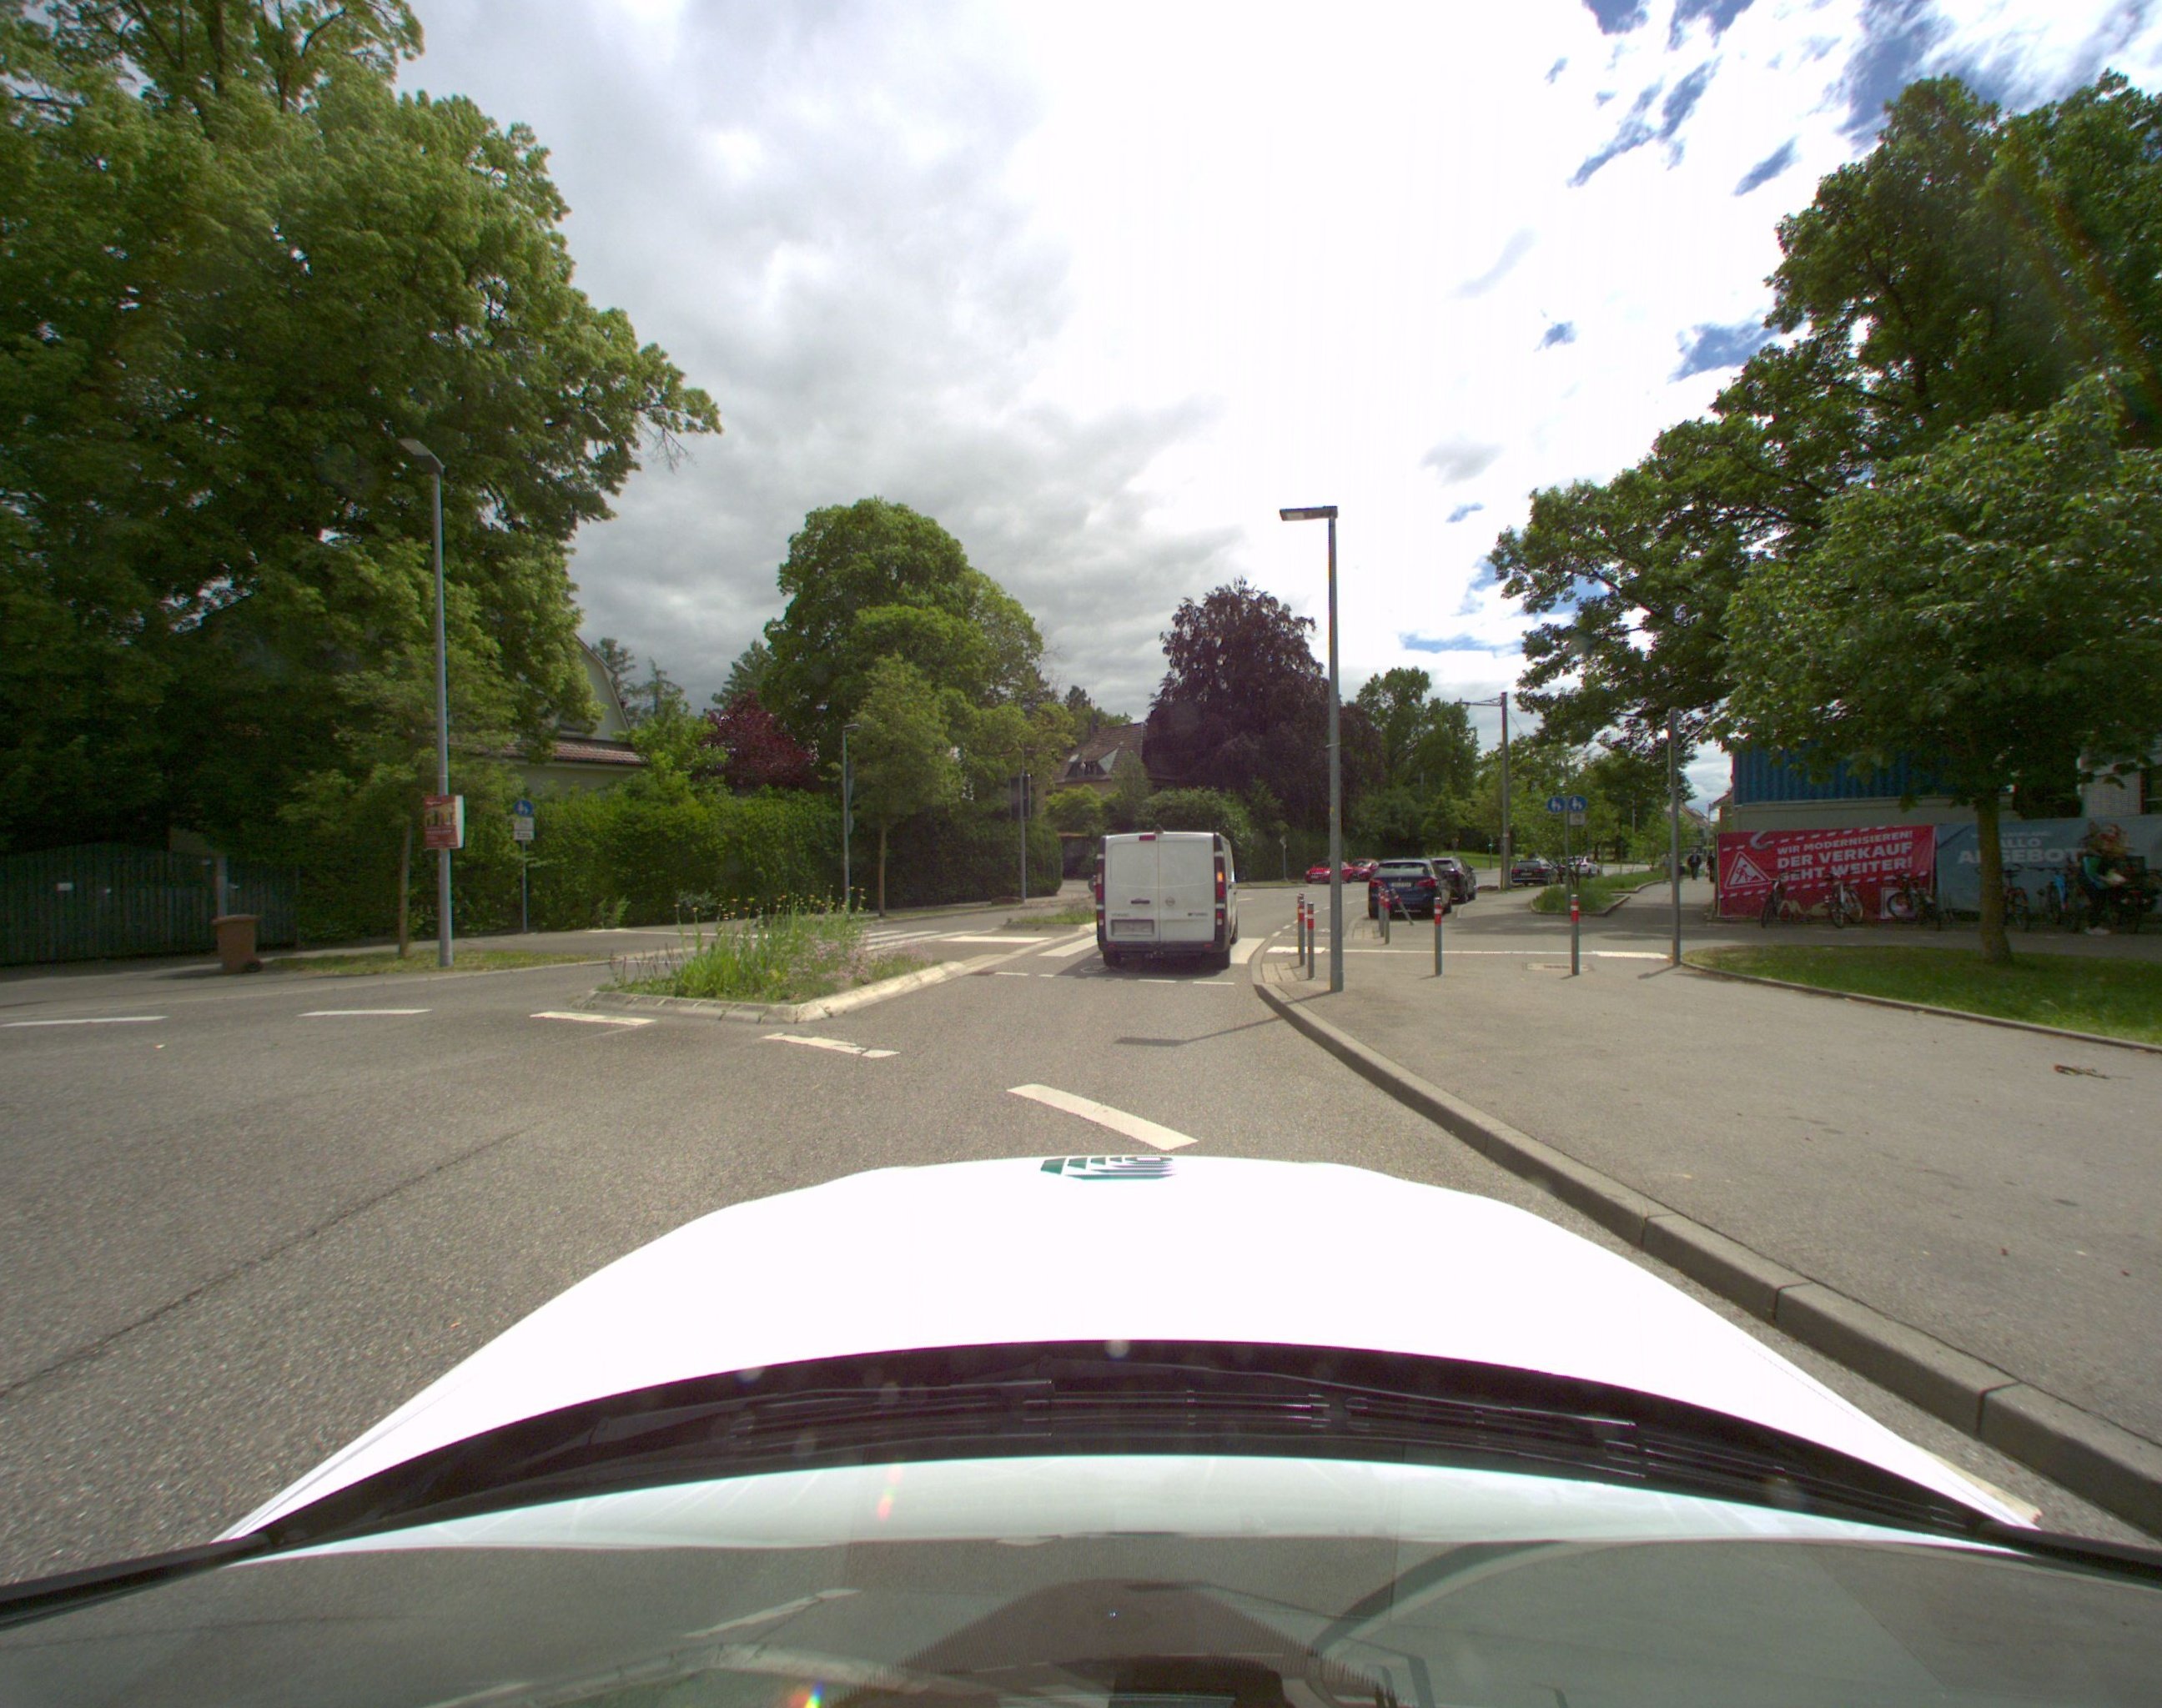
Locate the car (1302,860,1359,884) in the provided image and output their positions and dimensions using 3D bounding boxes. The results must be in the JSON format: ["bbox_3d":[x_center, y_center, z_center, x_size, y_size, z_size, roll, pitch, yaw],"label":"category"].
[{"bbox_3d":[15.653,1.099,50.962,1.645,1.378,4.594,1,0,42],"label":"car"}]

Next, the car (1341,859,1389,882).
[{"bbox_3d":[19.197,1.075,54.954,1.634,1.450,4.130,1,0,41],"label":"car"}]

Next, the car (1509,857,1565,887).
[{"bbox_3d":[24.750,0.963,44.129,1.747,1.477,4.966,-4,-3,39],"label":"car"}]

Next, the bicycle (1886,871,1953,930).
[{"bbox_3d":[16.197,0.871,15.772,0.514,1.041,1.812,-1,-1,34],"label":"bicycle"}]

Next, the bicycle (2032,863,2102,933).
[{"bbox_3d":[17.554,0.750,14.528,0.434,1.155,1.778,0,0,39],"label":"bicycle"}]

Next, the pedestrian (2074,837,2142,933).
[{"bbox_3d":[17.329,0.511,13.759,0.618,1.567,0.498,-1,-1,41],"label":"pedestrian"}]

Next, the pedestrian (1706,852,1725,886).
[{"bbox_3d":[31.134,0.728,39.953,0.735,1.618,0.772,0,-1,39],"label":"pedestrian"}]

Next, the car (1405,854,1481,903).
[{"bbox_3d":[13.226,0.865,29.592,1.860,1.622,4.877,-2,-1,31],"label":"car"}]

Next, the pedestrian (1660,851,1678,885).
[{"bbox_3d":[29.503,0.688,40.869,0.644,1.696,0.729,0,-1,32],"label":"pedestrian"}]

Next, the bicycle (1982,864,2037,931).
[{"bbox_3d":[17.061,0.771,14.983,0.420,1.155,1.672,0,0,40],"label":"bicycle"}]

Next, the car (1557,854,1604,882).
[{"bbox_3d":[31.971,0.888,52.047,1.720,1.616,4.413,-4,-3,41],"label":"car"}]

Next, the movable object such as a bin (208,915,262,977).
[{"bbox_3d":[-13.358,1.444,12.867,0.437,0.935,0.413,-2,-1,11],"label":"movable object such as a bin"}]

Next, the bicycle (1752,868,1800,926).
[{"bbox_3d":[14.572,0.878,17.062,1.800,1.155,0.446,0,0,-40],"label":"bicycle"}]

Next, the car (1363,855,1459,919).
[{"bbox_3d":[9.197,0.847,22.502,1.898,1.578,4.457,-2,-1,29],"label":"car"}]

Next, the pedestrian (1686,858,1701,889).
[{"bbox_3d":[34.351,1.084,45.698,0.645,1.697,0.850,0,-1,39],"label":"pedestrian"}]

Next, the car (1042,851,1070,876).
[{"bbox_3d":[-1.589,0.604,52.066,1.718,1.510,3.998,0,1,-1],"label":"car"}]

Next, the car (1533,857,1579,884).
[{"bbox_3d":[28.011,0.949,47.997,1.553,1.493,4.024,-2,-2,42],"label":"car"}]

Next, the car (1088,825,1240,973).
[{"bbox_3d":[1.564,0.603,13.345,1.925,1.960,4.849,0,0,12],"label":"car"}]

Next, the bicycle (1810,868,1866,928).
[{"bbox_3d":[15.422,0.874,16.578,1.780,1.155,0.496,0,0,-36],"label":"bicycle"}]
